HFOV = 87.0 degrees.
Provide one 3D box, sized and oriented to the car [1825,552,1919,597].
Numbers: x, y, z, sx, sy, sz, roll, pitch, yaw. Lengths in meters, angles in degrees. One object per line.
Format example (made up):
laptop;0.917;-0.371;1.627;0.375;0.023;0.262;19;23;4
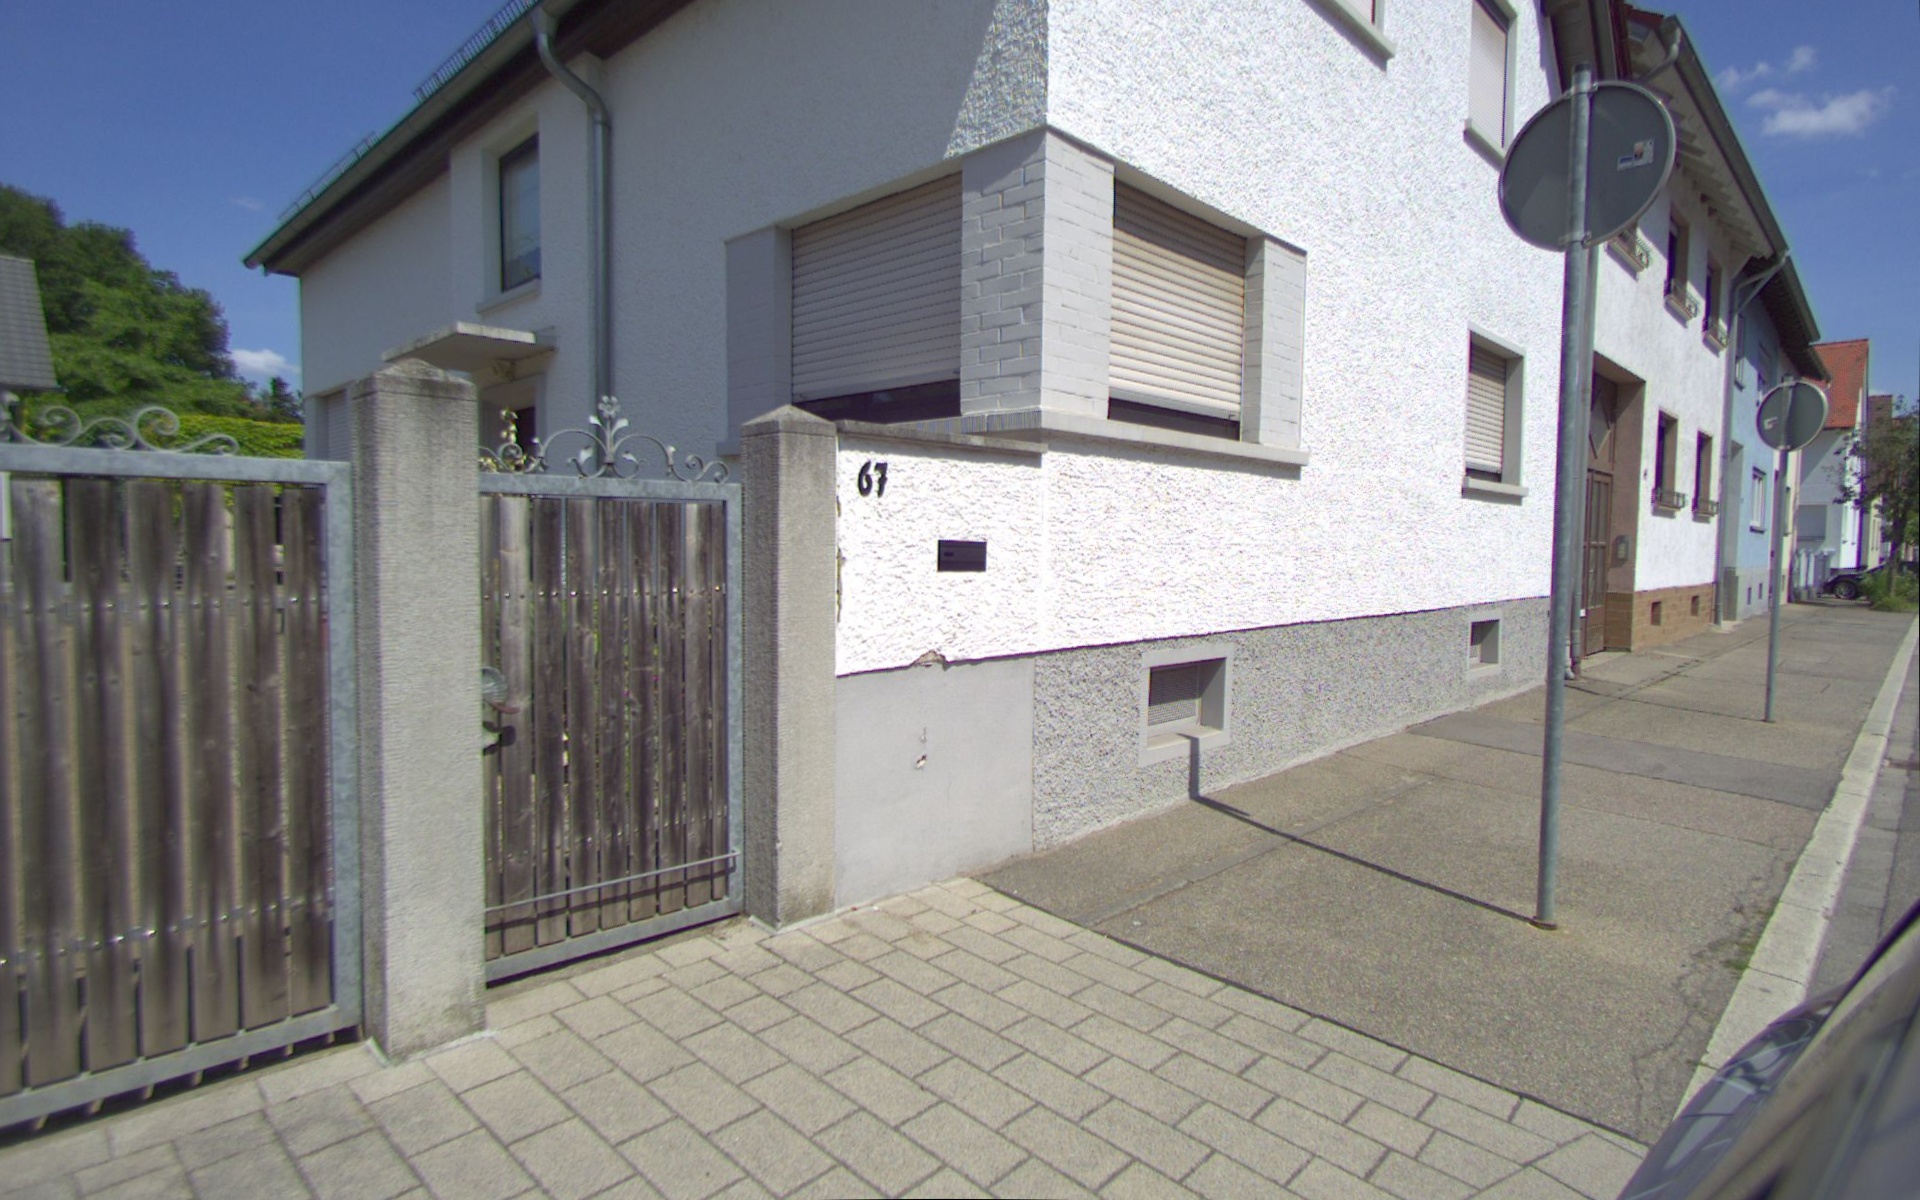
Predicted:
car;31.699;-0.868;33.954;1.697;1.446;3.814;-2;4;-40
